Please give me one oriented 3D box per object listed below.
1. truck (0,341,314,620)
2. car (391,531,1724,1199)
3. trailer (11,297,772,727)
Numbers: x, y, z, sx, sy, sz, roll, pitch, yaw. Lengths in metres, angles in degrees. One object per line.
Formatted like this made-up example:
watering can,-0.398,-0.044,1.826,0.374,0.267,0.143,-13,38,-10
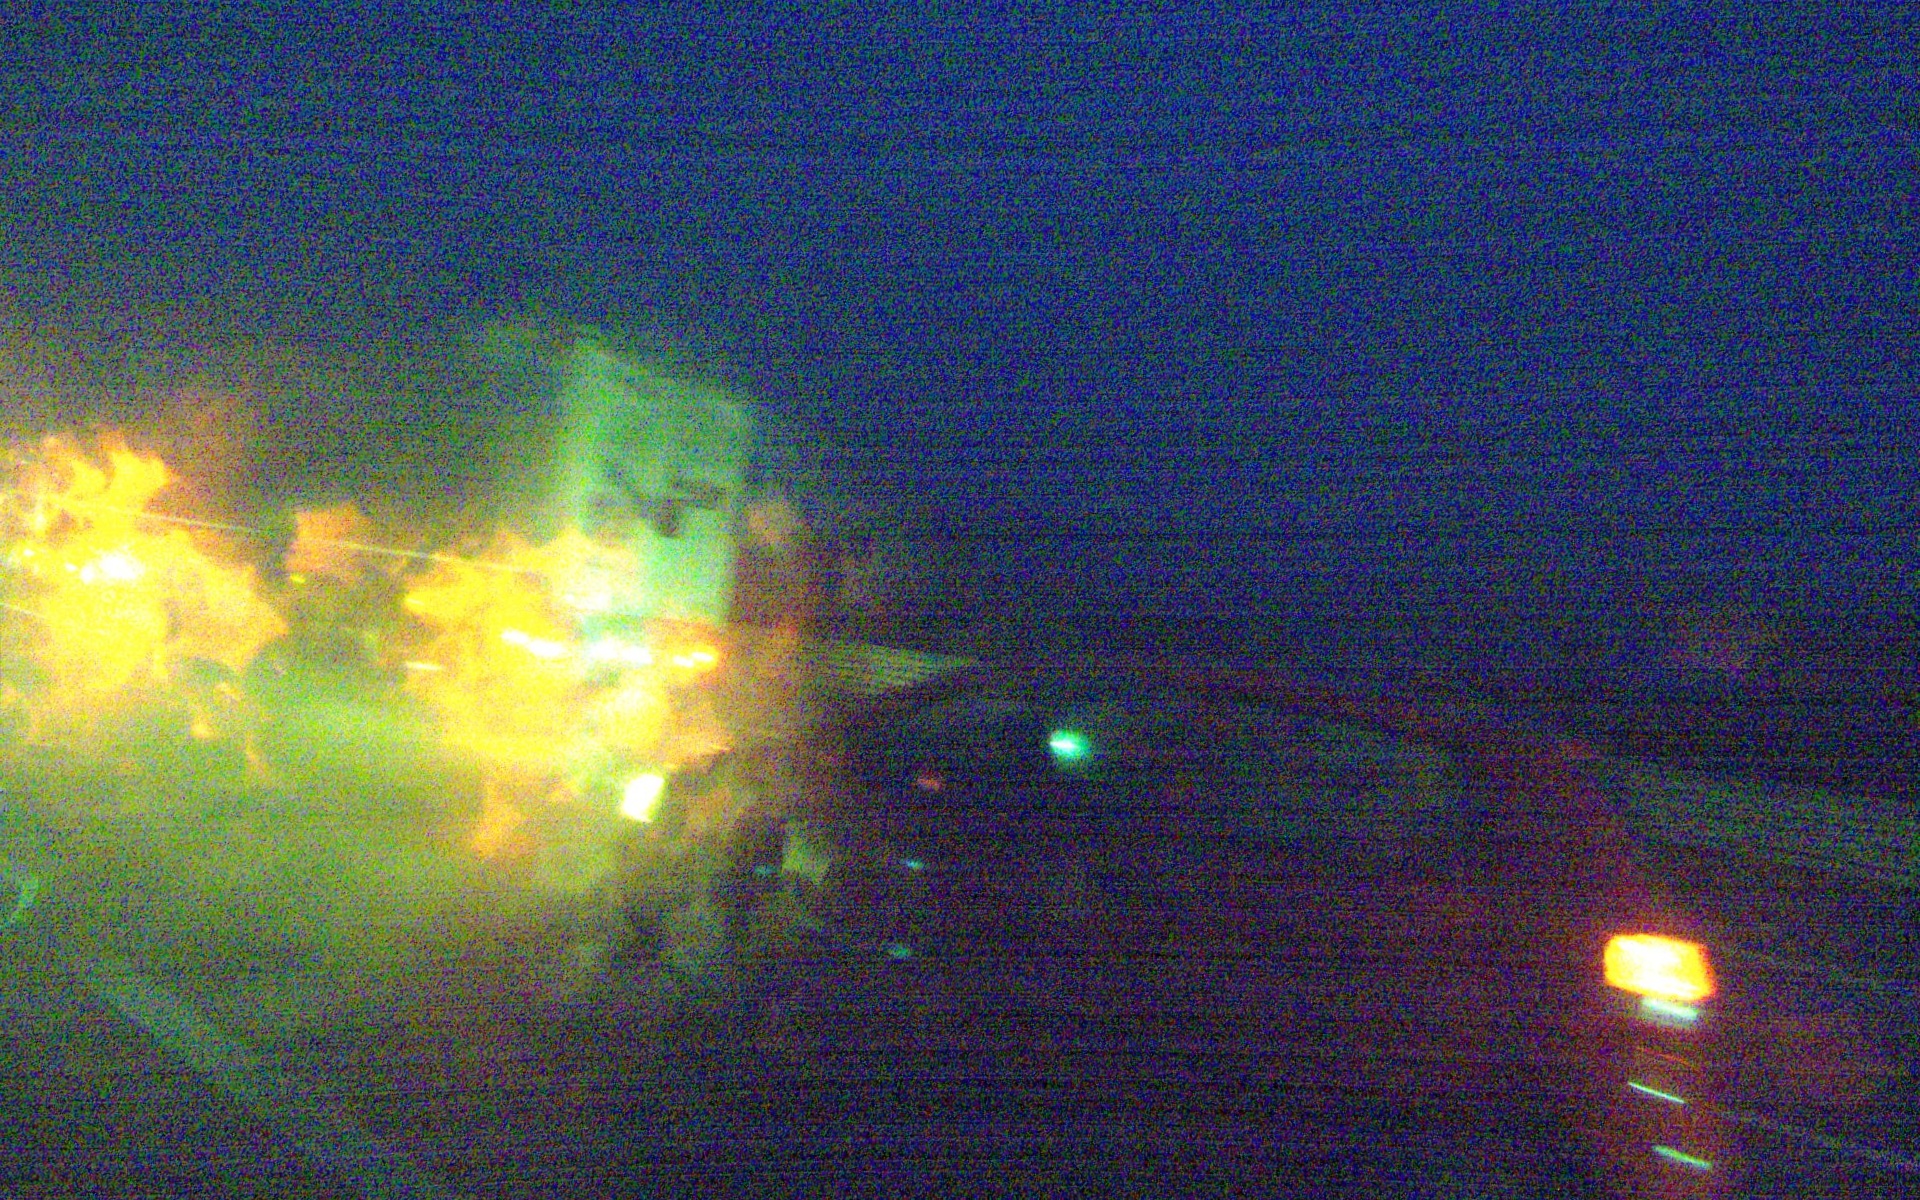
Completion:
truck,-14.916,-2.093,18.189,5.930,4.161,2.905,7,1,32
car,-0.021,0.774,3.885,4.419,1.594,1.743,6,-1,31
trailer,-9.259,-1.456,14.678,14.246,4.161,2.905,7,1,32
